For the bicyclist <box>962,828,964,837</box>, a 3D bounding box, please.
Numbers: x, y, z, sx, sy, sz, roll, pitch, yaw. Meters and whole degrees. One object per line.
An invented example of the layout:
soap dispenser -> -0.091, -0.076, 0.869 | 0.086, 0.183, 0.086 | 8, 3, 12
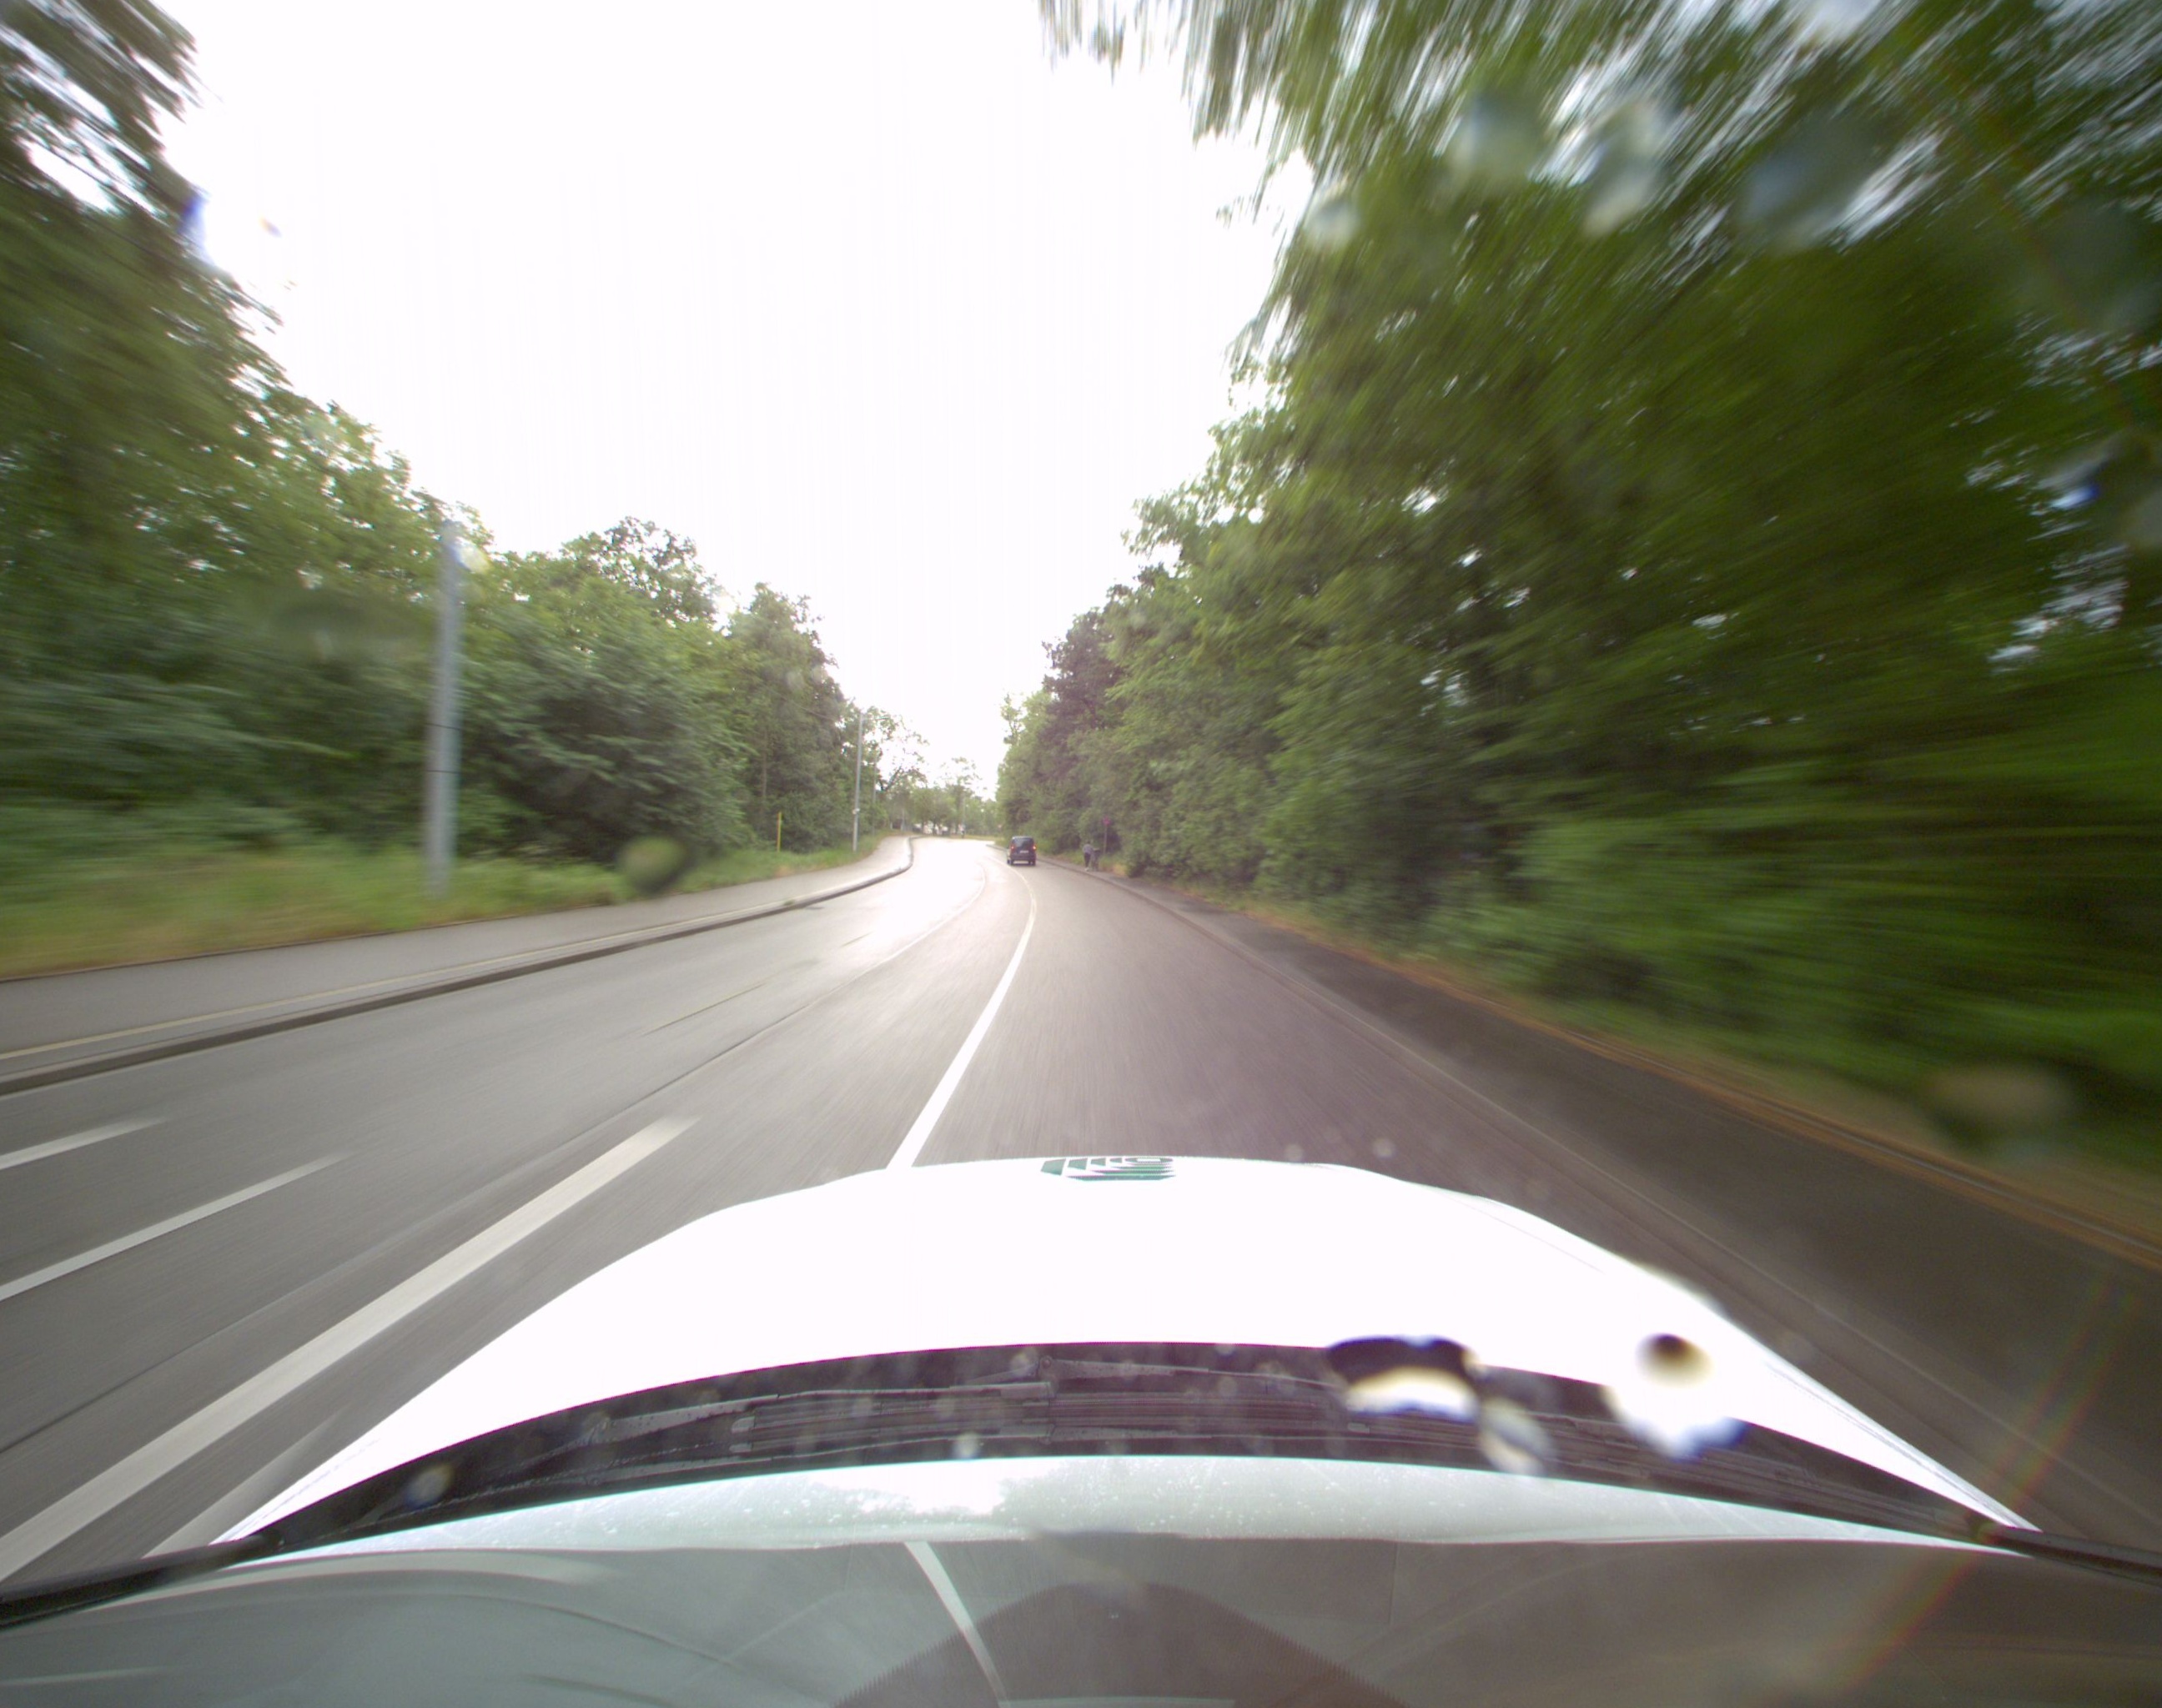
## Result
bicyclist -> -21.397, -3.976, 147.533 | 0.336, 1.574, 1.294 | 2, 2, -9

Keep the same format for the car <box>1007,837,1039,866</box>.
car -> -3.832, -0.158, 53.035 | 1.826, 1.794, 3.990 | -1, 0, -7

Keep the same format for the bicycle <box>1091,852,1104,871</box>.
bicycle -> 0.829, 0.382, 42.433 | 0.355, 0.849, 1.738 | -3, 3, -9

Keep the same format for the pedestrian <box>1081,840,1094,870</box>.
pedestrian -> 0.342, 0.061, 42.640 | 0.564, 1.577, 0.767 | -1, -1, -9

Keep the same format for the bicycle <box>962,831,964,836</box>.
bicycle -> -21.406, -3.646, 147.557 | 0.355, 0.849, 2.087 | 0, 3, -9
